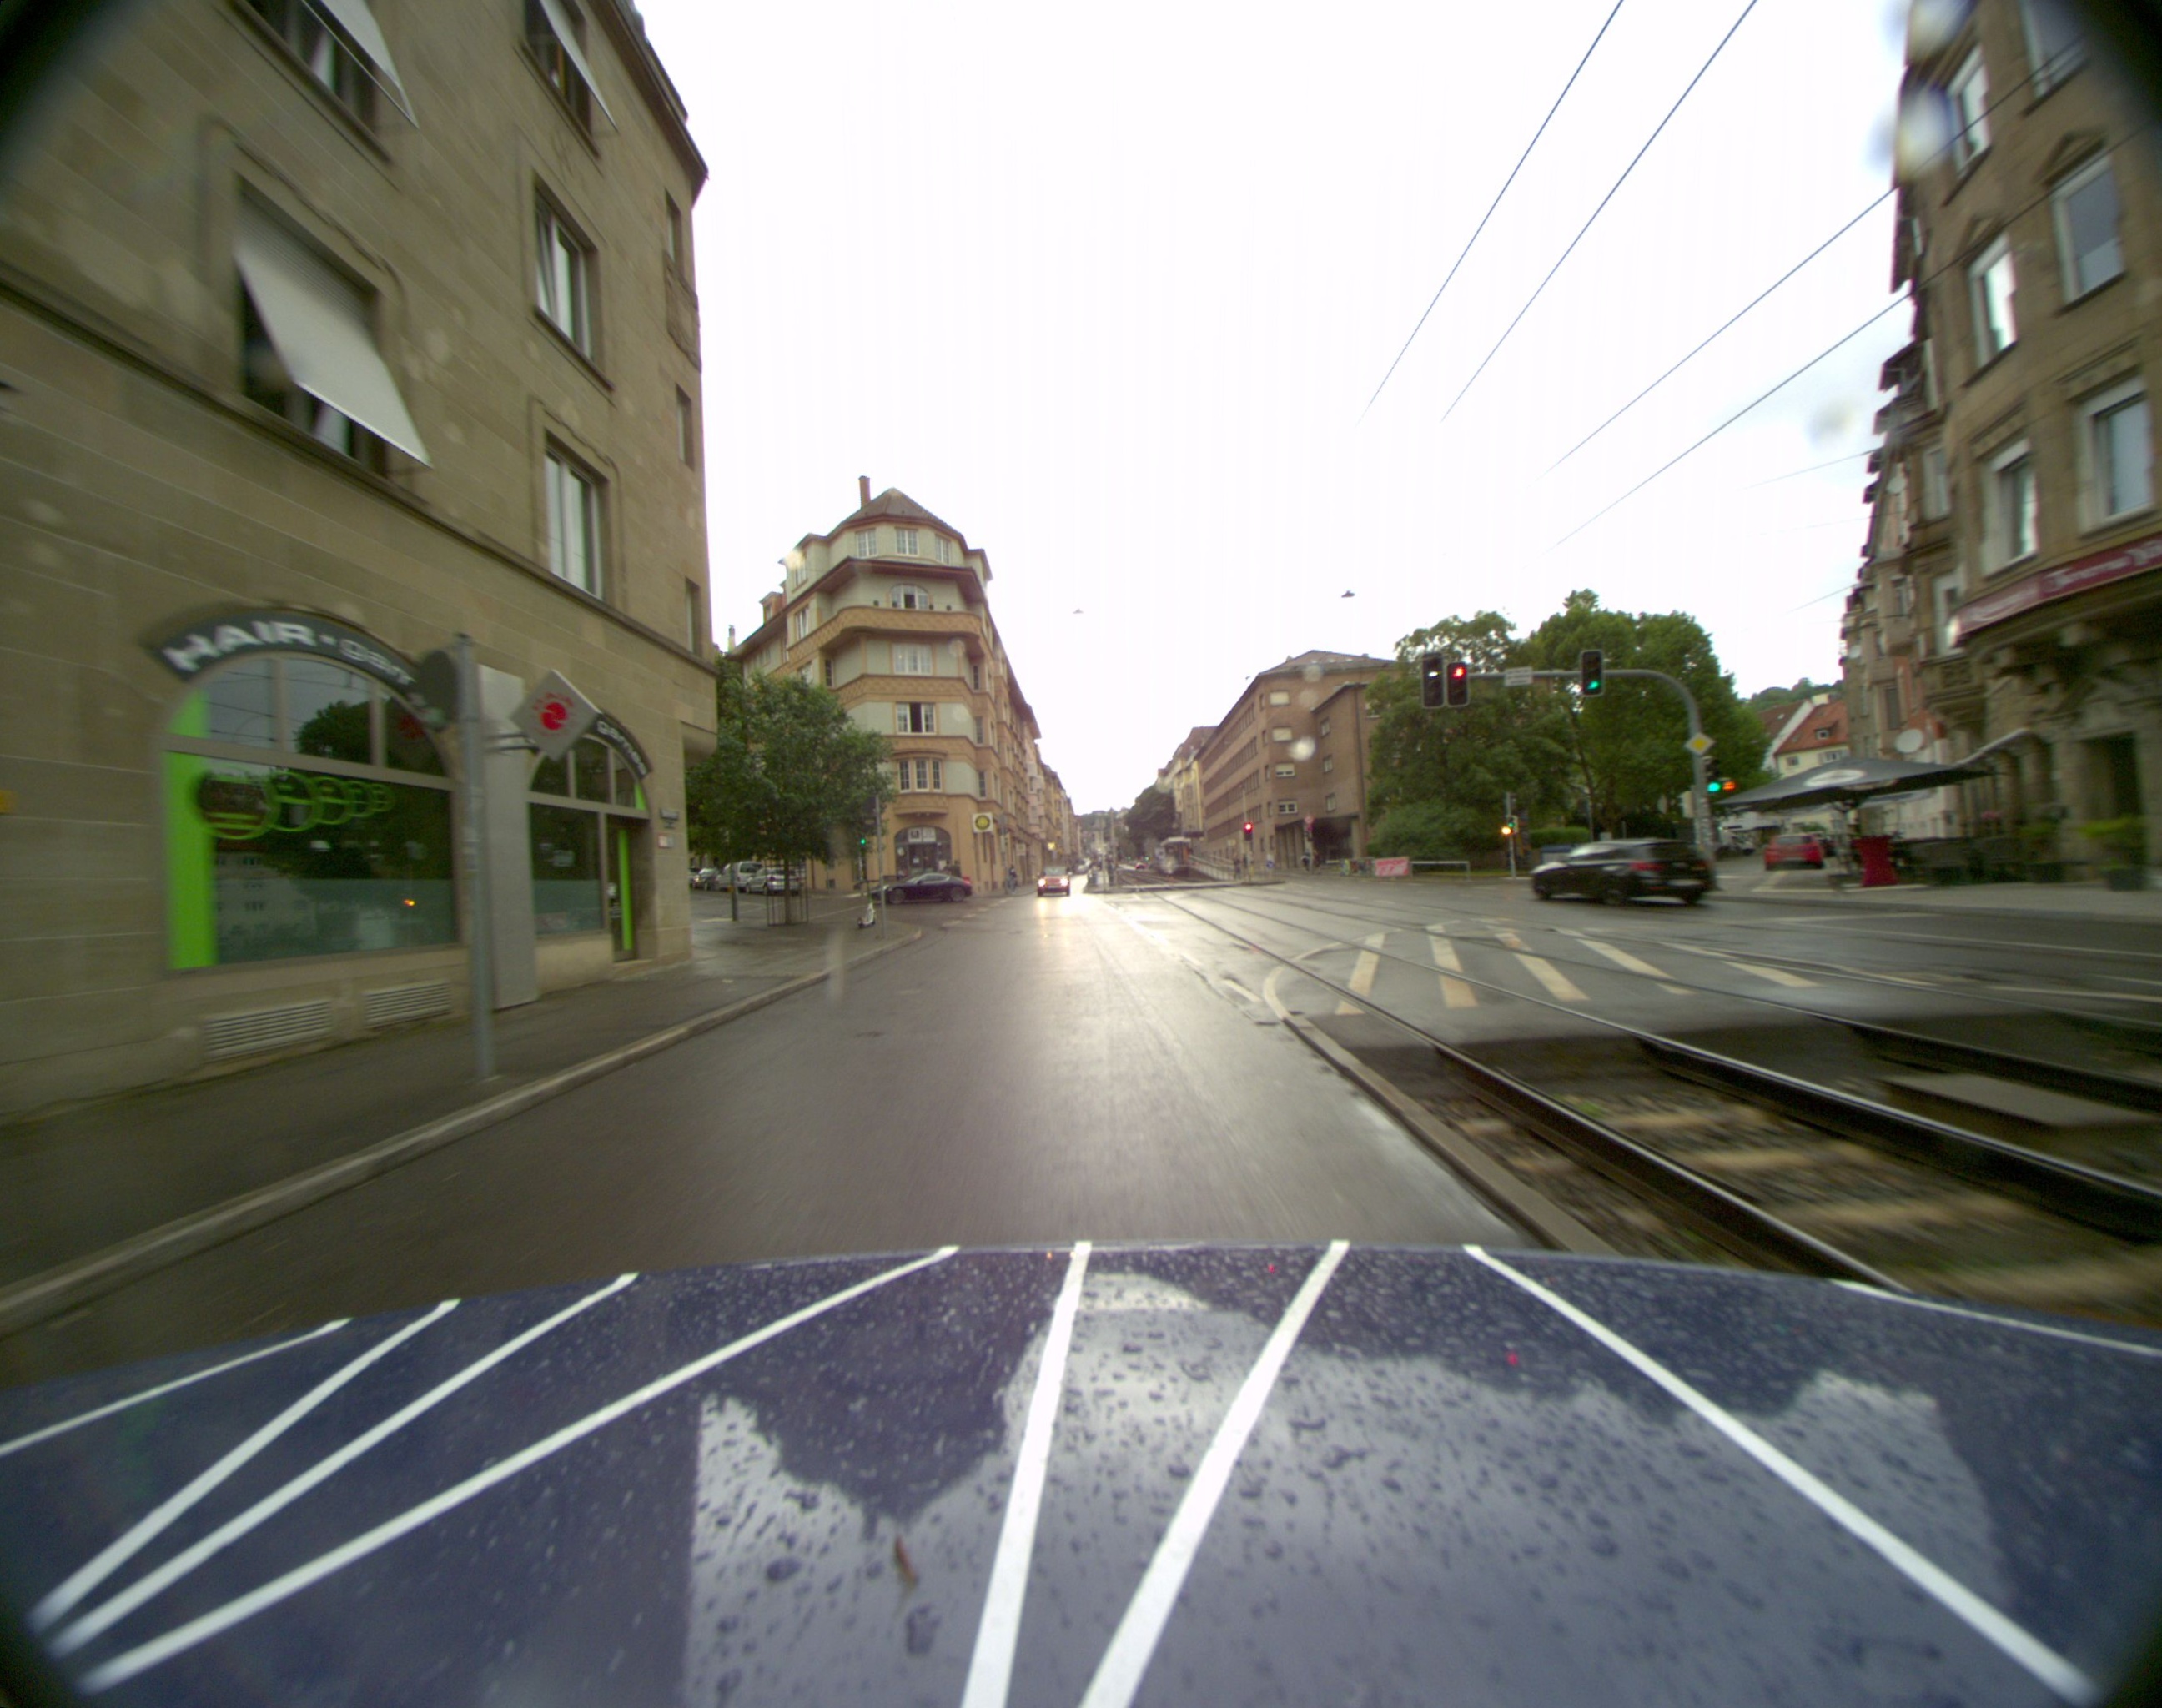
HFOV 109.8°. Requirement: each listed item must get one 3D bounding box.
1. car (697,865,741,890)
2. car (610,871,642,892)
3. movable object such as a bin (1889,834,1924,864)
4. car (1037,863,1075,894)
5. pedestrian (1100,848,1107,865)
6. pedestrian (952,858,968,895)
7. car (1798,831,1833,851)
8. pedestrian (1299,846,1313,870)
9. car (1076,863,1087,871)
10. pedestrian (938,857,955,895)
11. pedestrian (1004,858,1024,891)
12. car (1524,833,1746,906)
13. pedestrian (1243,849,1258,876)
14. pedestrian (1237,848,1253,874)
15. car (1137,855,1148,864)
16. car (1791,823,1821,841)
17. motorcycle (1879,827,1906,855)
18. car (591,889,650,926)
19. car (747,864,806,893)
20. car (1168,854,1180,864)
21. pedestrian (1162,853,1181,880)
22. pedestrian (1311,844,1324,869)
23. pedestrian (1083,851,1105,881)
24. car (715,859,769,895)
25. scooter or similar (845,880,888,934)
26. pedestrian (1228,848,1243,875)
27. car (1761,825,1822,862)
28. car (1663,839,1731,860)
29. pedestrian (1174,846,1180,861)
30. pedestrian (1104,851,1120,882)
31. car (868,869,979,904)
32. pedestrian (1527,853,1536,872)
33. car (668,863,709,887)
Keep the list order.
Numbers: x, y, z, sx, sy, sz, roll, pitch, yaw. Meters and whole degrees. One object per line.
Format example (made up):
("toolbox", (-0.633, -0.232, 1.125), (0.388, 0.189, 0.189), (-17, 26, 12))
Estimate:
("car", (-22.034, 1.438, 46.198), (1.450, 1.416, 3.290), (-1, -1, -43))
("car", (-36.836, 2.198, 61.527), (1.449, 1.565, 3.275), (-6, 3, -43))
("movable object such as a bin", (29.780, -0.173, 27.414), (0.720, 1.036, 0.552), (-2, 0, 32))
("car", (-1.223, 1.240, 38.885), (1.689, 1.451, 3.299), (-2, 0, 2))
("pedestrian", (2.373, 0.270, 80.581), (0.645, 1.764, 0.711), (-4, 0, 1))
("pedestrian", (-5.835, 1.082, 36.645), (0.595, 1.778, 0.890), (-1, 0, -2))
("car", (53.743, -0.949, 55.651), (1.737, 1.394, 4.008), (-2, 0, 43))
("pedestrian", (15.622, 0.263, 52.794), (0.767, 1.640, 0.649), (-2, 0, 0))
("car", (0.148, 2.332, 138.456), (1.633, 1.443, 4.001), (-4, -1, 3))
("pedestrian", (-6.518, 1.059, 36.886), (0.684, 1.778, 0.901), (-1, 0, -2))
("pedestrian", (-3.684, 1.127, 41.826), (0.967, 1.829, 0.902), (0, 0, 1))
("car", (12.224, 0.315, 17.197), (1.953, 1.388, 4.275), (-2, 0, 2))
("pedestrian", (10.635, 0.521, 47.646), (0.745, 1.638, 0.640), (-4, 2, 2))
("pedestrian", (10.765, 0.454, 49.955), (0.745, 1.686, 0.882), (-4, 1, 0))
("car", (13.300, 1.202, 164.162), (1.998, 2.002, 4.000), (-2, 0, 1))
("car", (61.337, -1.848, 64.334), (1.737, 1.394, 4.008), (-2, 0, 43))
("motorcycle", (37.333, -0.600, 34.965), (0.747, 1.248, 1.863), (-2, 0, 44))
("car", (-25.591, 2.921, 42.127), (1.749, 1.716, 4.345), (-6, 4, -44))
("car", (-15.940, 1.285, 39.699), (1.695, 1.451, 3.525), (1, -2, -43))
("car", (15.252, 0.830, 124.932), (1.648, 1.457, 3.112), (-4, 0, 3))
("pedestrian", (5.439, 0.760, 45.527), (0.695, 1.573, 0.955), (-3, 0, -20))
("pedestrian", (15.603, 0.160, 50.161), (0.605, 1.665, 0.688), (-2, 0, -1))
("pedestrian", (0.858, 0.811, 51.225), (0.949, 2.002, 0.927), (-4, 0, -42))
("car", (-19.295, 1.307, 43.179), (1.608, 1.834, 3.545), (-6, 3, -43))
("scooter or similar", (-5.202, 1.255, 18.493), (0.639, 1.203, 1.552), (-2, 0, -3))
("pedestrian", (9.967, 0.500, 49.056), (0.666, 1.689, 0.688), (-5, 1, -1))
("car", (29.495, -0.430, 31.564), (1.737, 1.394, 4.008), (-2, 0, 43))
("car", (48.688, -0.373, 60.079), (1.746, 1.469, 3.989), (-2, 0, -45))
("pedestrian", (11.152, -0.094, 88.678), (0.588, 1.699, 0.491), (-2, 0, 1))
("pedestrian", (2.068, 0.831, 50.941), (0.899, 2.002, 0.947), (-4, 0, 1))
("car", (-6.583, 1.335, 31.822), (4.201, 1.280, 1.702), (-1, 0, -28))
("pedestrian", (26.209, 0.474, 44.199), (0.417, 1.078, 0.283), (-2, 0, 25))
("car", (-26.180, 1.415, 50.657), (1.449, 1.417, 3.290), (-6, 3, -43))
